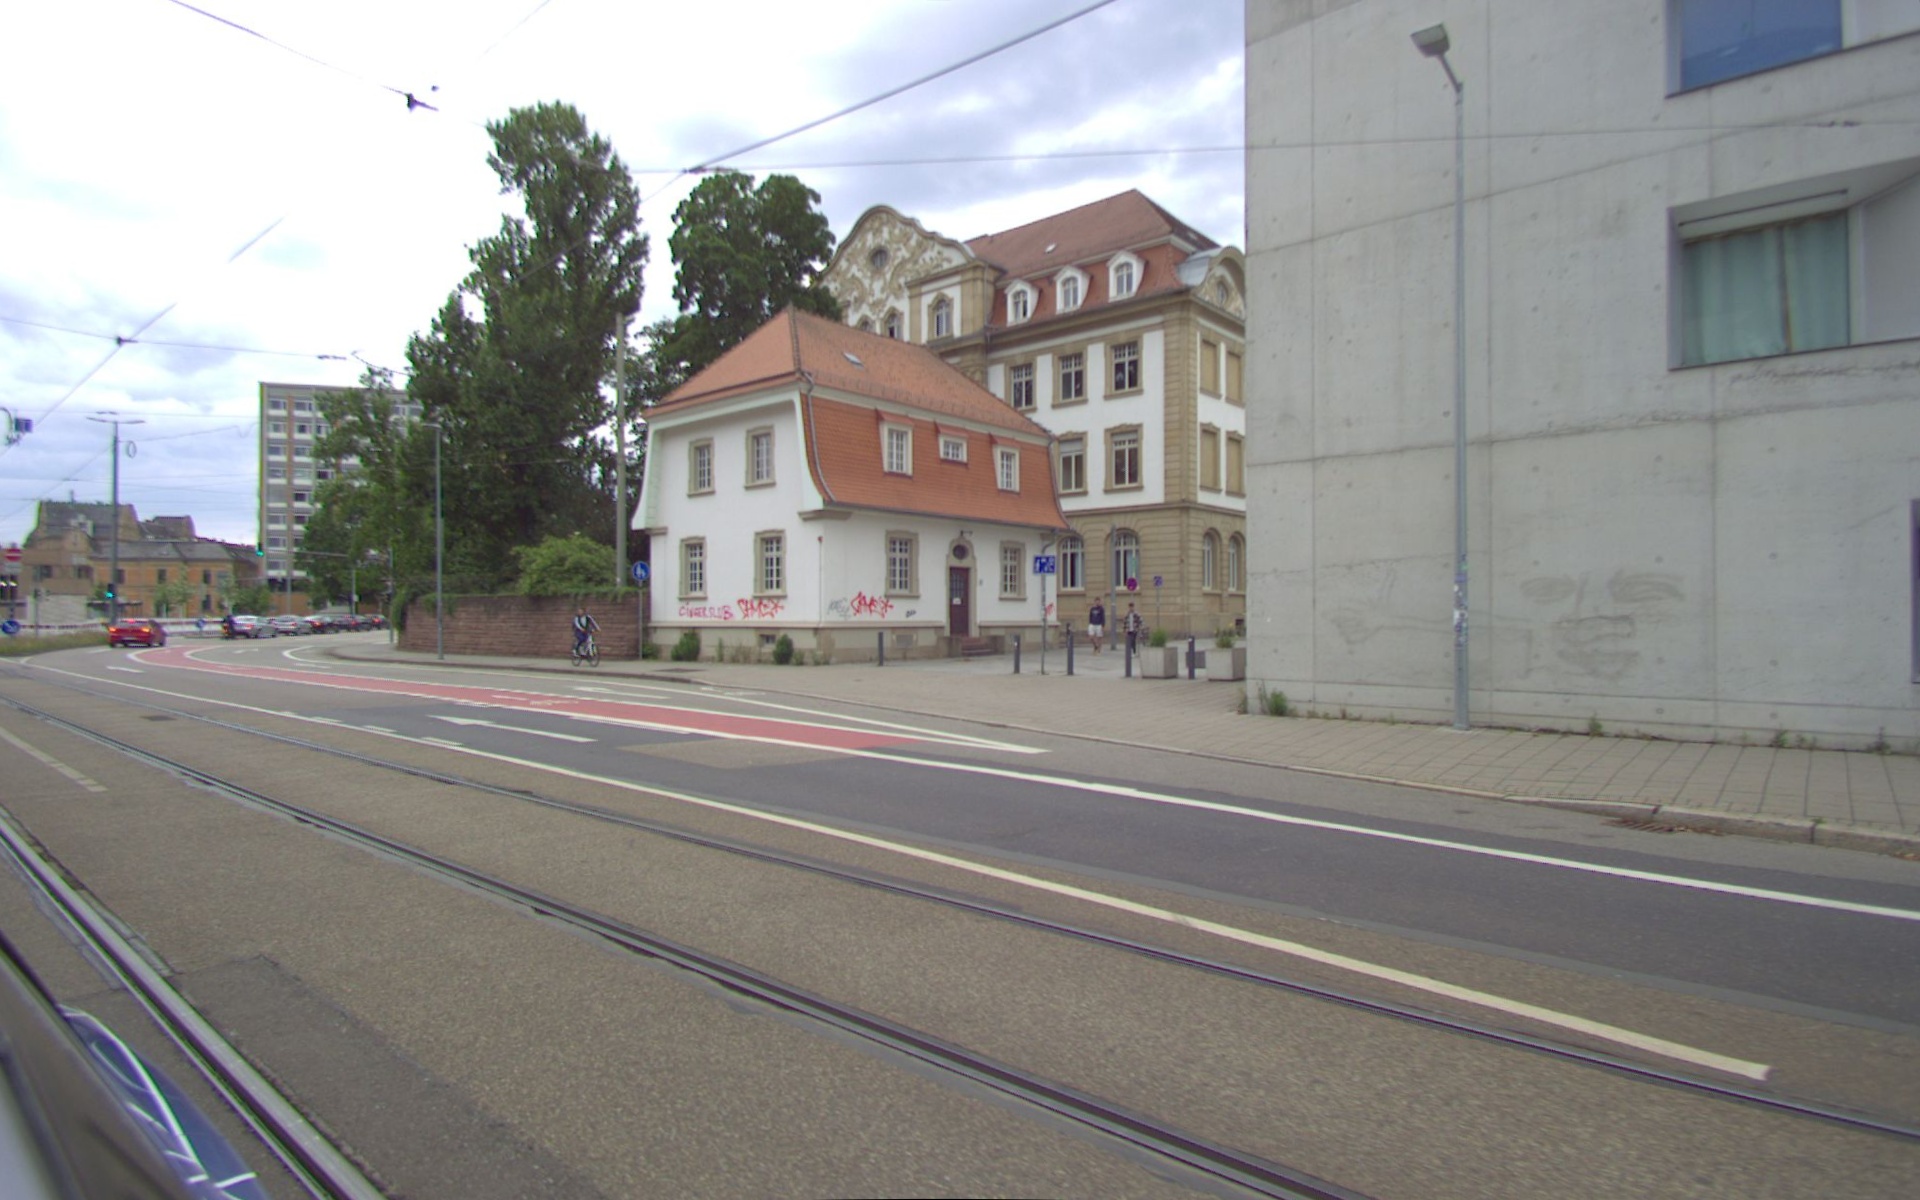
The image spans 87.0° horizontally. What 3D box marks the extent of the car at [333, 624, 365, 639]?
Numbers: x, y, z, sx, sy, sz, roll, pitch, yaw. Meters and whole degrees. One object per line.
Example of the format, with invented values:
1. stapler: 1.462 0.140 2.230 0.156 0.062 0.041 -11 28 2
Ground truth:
1. car: -51.783 2.658 85.823 1.400 1.180 3.079 0 -1 -13

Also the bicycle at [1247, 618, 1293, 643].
1. bicycle: 14.573 1.404 47.561 0.708 1.082 1.932 1 1 -44

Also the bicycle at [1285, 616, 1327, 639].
1. bicycle: 17.849 1.419 52.221 0.606 1.082 1.932 1 1 -44

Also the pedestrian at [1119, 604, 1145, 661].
1. pedestrian: 5.539 1.027 32.616 0.639 1.794 0.684 2 0 23

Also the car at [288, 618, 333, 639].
1. car: -50.979 2.203 79.508 1.756 1.623 4.336 0 -1 -15

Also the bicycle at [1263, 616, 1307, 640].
1. bicycle: 15.757 1.334 49.116 0.708 1.082 1.932 1 1 -44

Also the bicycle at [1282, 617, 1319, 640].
1. bicycle: 17.190 1.450 51.157 0.482 1.082 1.704 1 1 -44

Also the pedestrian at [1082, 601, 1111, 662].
1. pedestrian: 4.414 1.005 32.716 0.750 1.899 0.685 2 0 22

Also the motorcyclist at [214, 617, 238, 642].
1. motorcyclist: -45.962 1.832 63.382 1.058 1.497 1.255 0 -1 -27

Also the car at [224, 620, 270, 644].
1. car: -47.107 2.098 66.918 1.469 1.520 3.480 0 -1 -16

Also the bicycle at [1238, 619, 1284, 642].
1. bicycle: 13.909 1.394 46.825 0.708 0.986 1.932 1 1 -44

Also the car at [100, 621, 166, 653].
1. car: -42.070 1.863 51.560 1.731 1.510 4.013 2 -2 -27

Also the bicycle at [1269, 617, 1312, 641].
1. bicycle: 16.434 1.441 50.359 0.708 1.082 1.932 1 1 -44

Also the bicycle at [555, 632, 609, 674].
1. bicycle: -11.517 1.608 30.812 1.868 1.221 0.766 -1 -2 41

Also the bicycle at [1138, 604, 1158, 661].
1. bicycle: 6.030 1.039 32.466 0.357 1.794 0.933 2 0 23

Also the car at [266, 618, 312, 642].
1. car: -49.285 2.164 74.428 1.658 1.663 3.992 0 -1 -15

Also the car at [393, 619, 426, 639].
1. car: -46.989 2.475 86.435 1.801 1.594 4.012 0 -1 -18

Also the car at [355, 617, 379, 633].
1. car: -54.359 2.280 92.811 1.391 1.342 3.321 0 -1 -21

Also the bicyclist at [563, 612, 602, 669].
1. bicyclist: -11.482 1.211 30.786 0.868 1.703 0.766 -1 -2 41

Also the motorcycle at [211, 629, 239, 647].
1. motorcycle: -45.801 2.352 63.088 1.038 1.077 2.656 0 -1 -27
